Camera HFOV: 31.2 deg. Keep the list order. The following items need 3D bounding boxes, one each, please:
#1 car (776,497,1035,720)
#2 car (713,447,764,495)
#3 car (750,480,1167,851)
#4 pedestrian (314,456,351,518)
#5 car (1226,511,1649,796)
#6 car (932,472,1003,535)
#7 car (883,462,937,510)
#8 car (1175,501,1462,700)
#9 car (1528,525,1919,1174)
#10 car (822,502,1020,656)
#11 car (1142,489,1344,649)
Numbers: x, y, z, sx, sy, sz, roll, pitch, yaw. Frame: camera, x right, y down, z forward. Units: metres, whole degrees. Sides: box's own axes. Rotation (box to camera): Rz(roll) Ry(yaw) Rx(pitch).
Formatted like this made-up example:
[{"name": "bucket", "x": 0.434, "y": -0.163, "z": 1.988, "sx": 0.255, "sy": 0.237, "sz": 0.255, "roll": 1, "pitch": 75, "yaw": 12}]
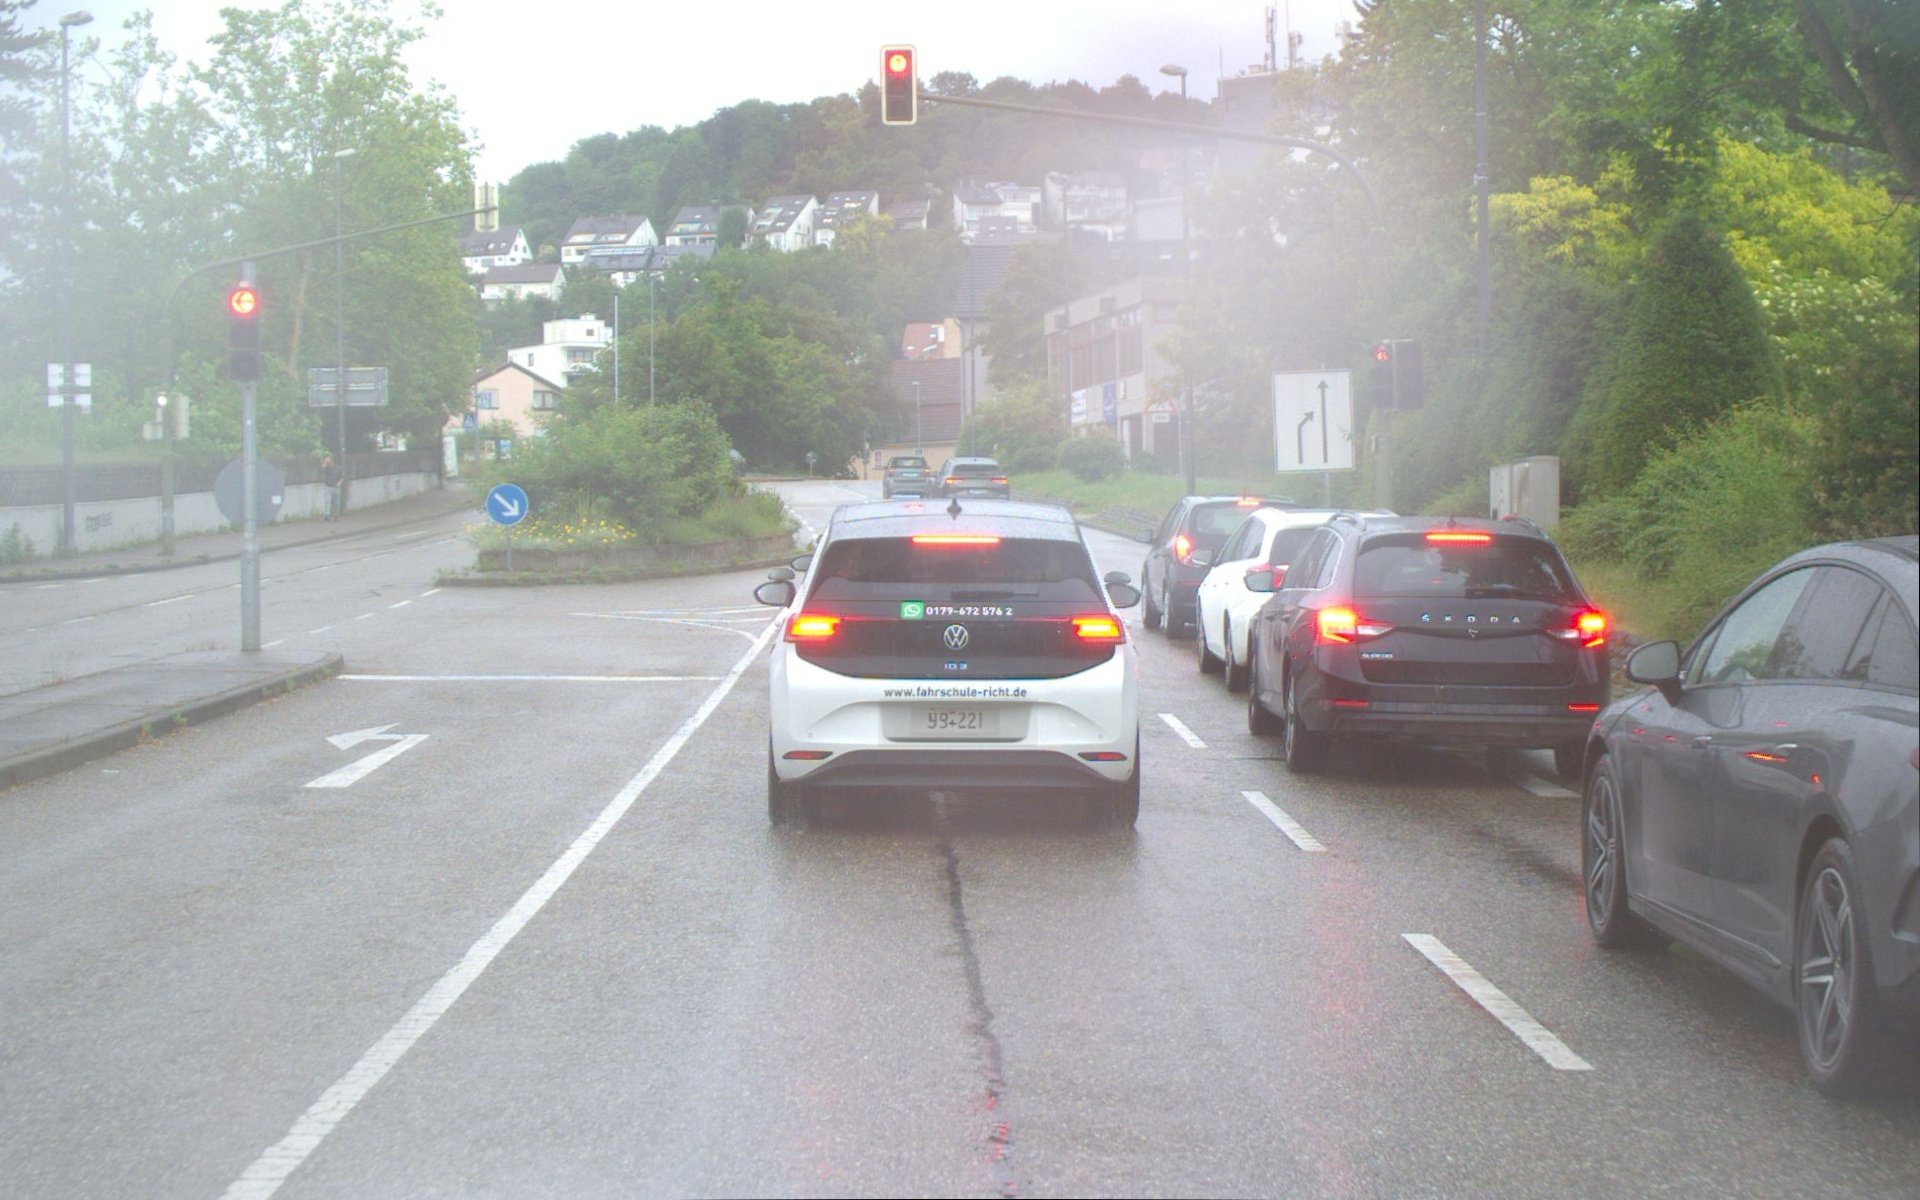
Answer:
[{"name": "car", "x": -0.426, "y": 0.001, "z": 26.955, "sx": 1.837, "sy": 1.549, "sz": 4.175, "roll": 1, "pitch": 2, "yaw": -1}, {"name": "car", "x": -9.895, "y": -5.740, "z": 153.606, "sx": 1.993, "sy": 2.007, "sz": 4.000, "roll": 1, "pitch": 1, "yaw": 0}, {"name": "car", "x": -0.045, "y": 0.217, "z": 17.750, "sx": 1.837, "sy": 1.623, "sz": 4.616, "roll": 1, "pitch": 2, "yaw": -1}, {"name": "pedestrian", "x": -16.308, "y": -2.934, "z": 89.326, "sx": 0.760, "sy": 1.562, "sz": 0.825, "roll": -2, "pitch": 1, "yaw": -1}, {"name": "car", "x": 2.742, "y": 0.233, "z": 20.697, "sx": 1.837, "sy": 1.461, "sz": 4.350, "roll": 1, "pitch": 2, "yaw": -1}, {"name": "car", "x": 0.184, "y": -2.545, "z": 91.132, "sx": 1.775, "sy": 1.575, "sz": 4.000, "roll": -2, "pitch": 1, "yaw": 0}, {"name": "car", "x": -1.719, "y": -3.944, "z": 119.750, "sx": 1.775, "sy": 1.575, "sz": 4.000, "roll": -2, "pitch": 1, "yaw": 0}, {"name": "car", "x": 2.869, "y": -0.053, "z": 28.335, "sx": 1.837, "sy": 1.461, "sz": 4.117, "roll": 1, "pitch": 2, "yaw": -1}, {"name": "car", "x": 3.102, "y": 0.556, "z": 10.454, "sx": 1.837, "sy": 1.461, "sz": 4.809, "roll": 1, "pitch": 2, "yaw": -1}, {"name": "car", "x": -0.404, "y": -0.254, "z": 34.414, "sx": 1.837, "sy": 1.395, "sz": 3.831, "roll": 1, "pitch": 2, "yaw": -1}, {"name": "car", "x": 2.963, "y": -0.355, "z": 36.738, "sx": 1.775, "sy": 1.575, "sz": 4.000, "roll": 1, "pitch": 1, "yaw": 0}]
